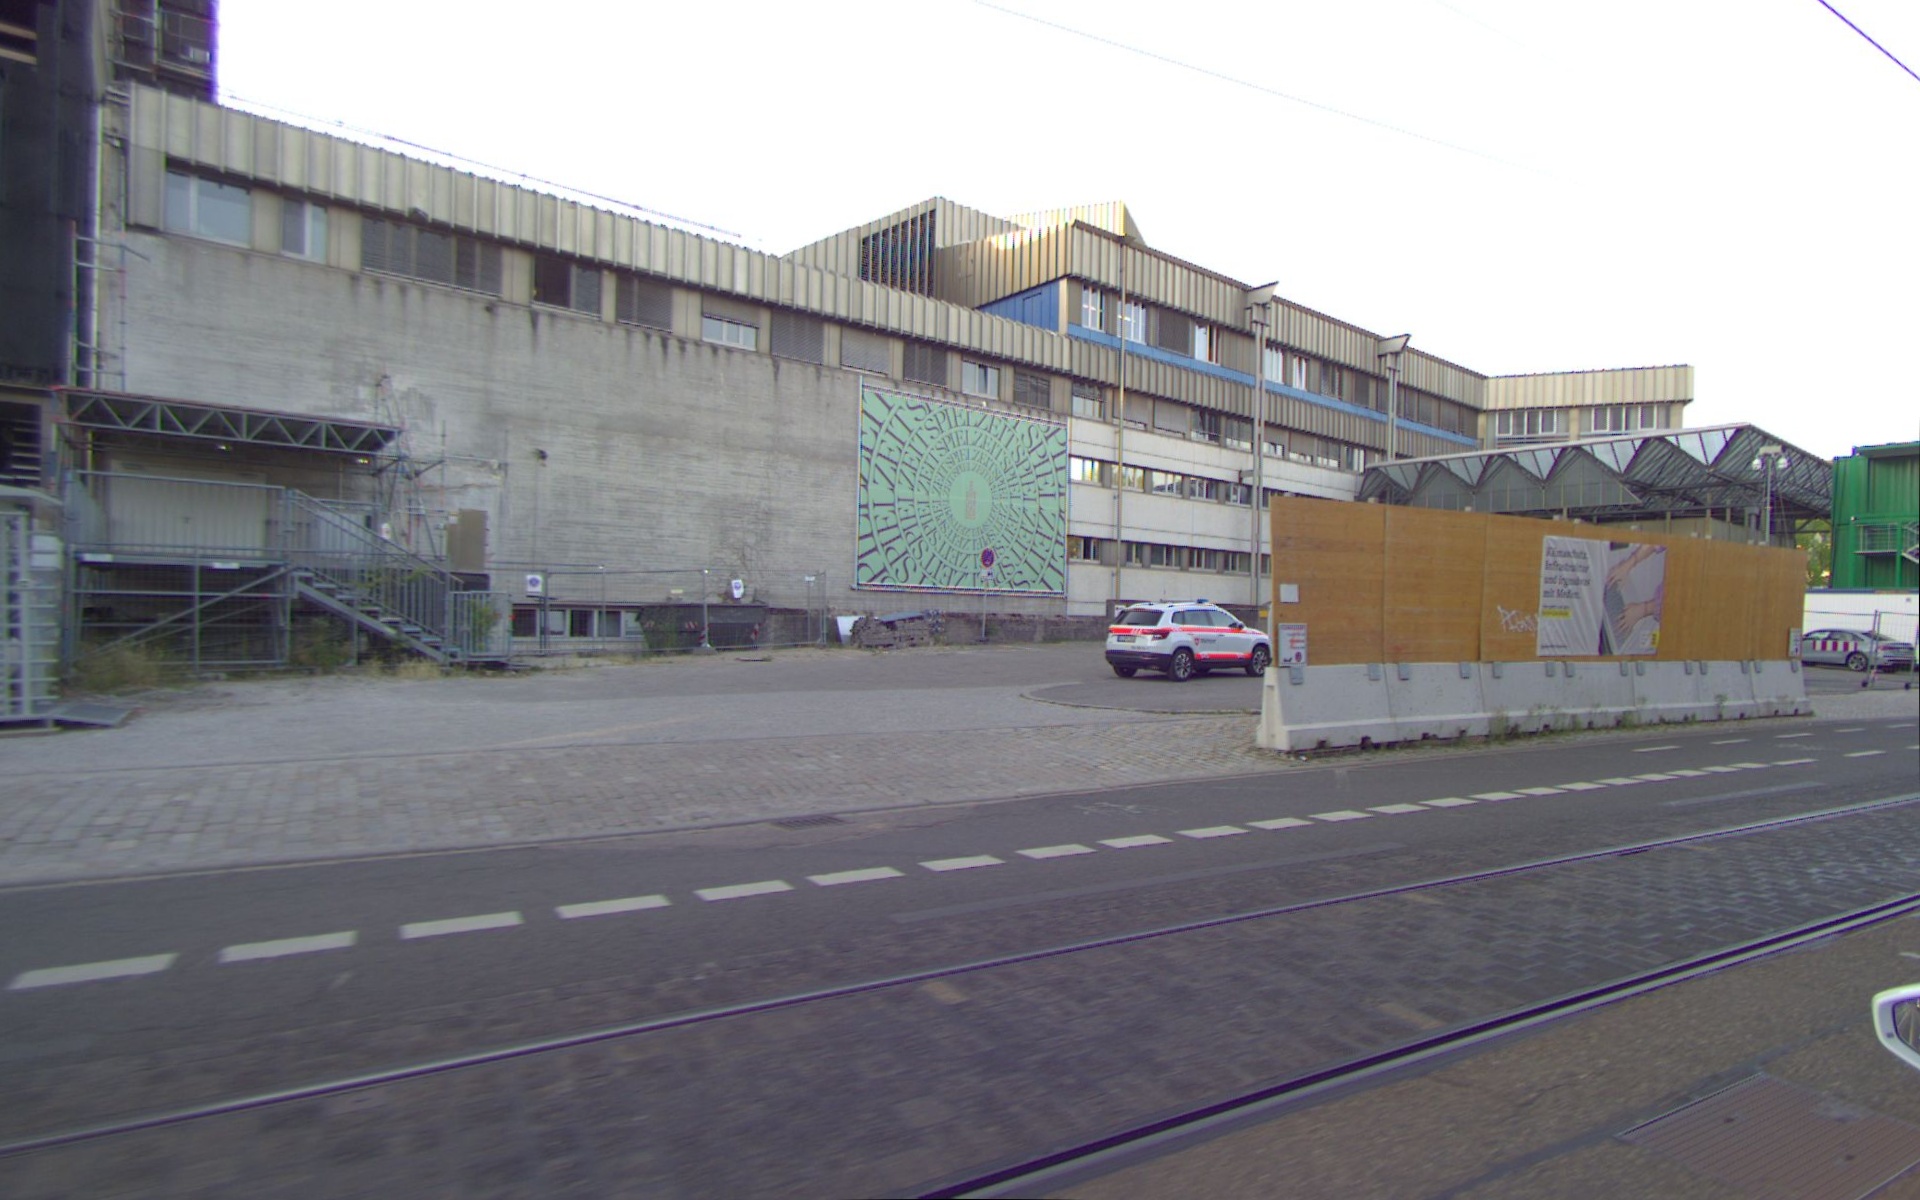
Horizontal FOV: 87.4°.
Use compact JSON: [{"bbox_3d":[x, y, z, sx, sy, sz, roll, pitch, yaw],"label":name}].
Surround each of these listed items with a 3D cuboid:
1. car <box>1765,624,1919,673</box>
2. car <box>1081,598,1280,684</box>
[{"bbox_3d":[31.705,1.710,36.165,1.707,1.421,3.996,1,1,-14],"label":"car"},{"bbox_3d":[4.895,0.868,22.052,4.240,1.686,1.979,2,0,-37],"label":"car"}]
